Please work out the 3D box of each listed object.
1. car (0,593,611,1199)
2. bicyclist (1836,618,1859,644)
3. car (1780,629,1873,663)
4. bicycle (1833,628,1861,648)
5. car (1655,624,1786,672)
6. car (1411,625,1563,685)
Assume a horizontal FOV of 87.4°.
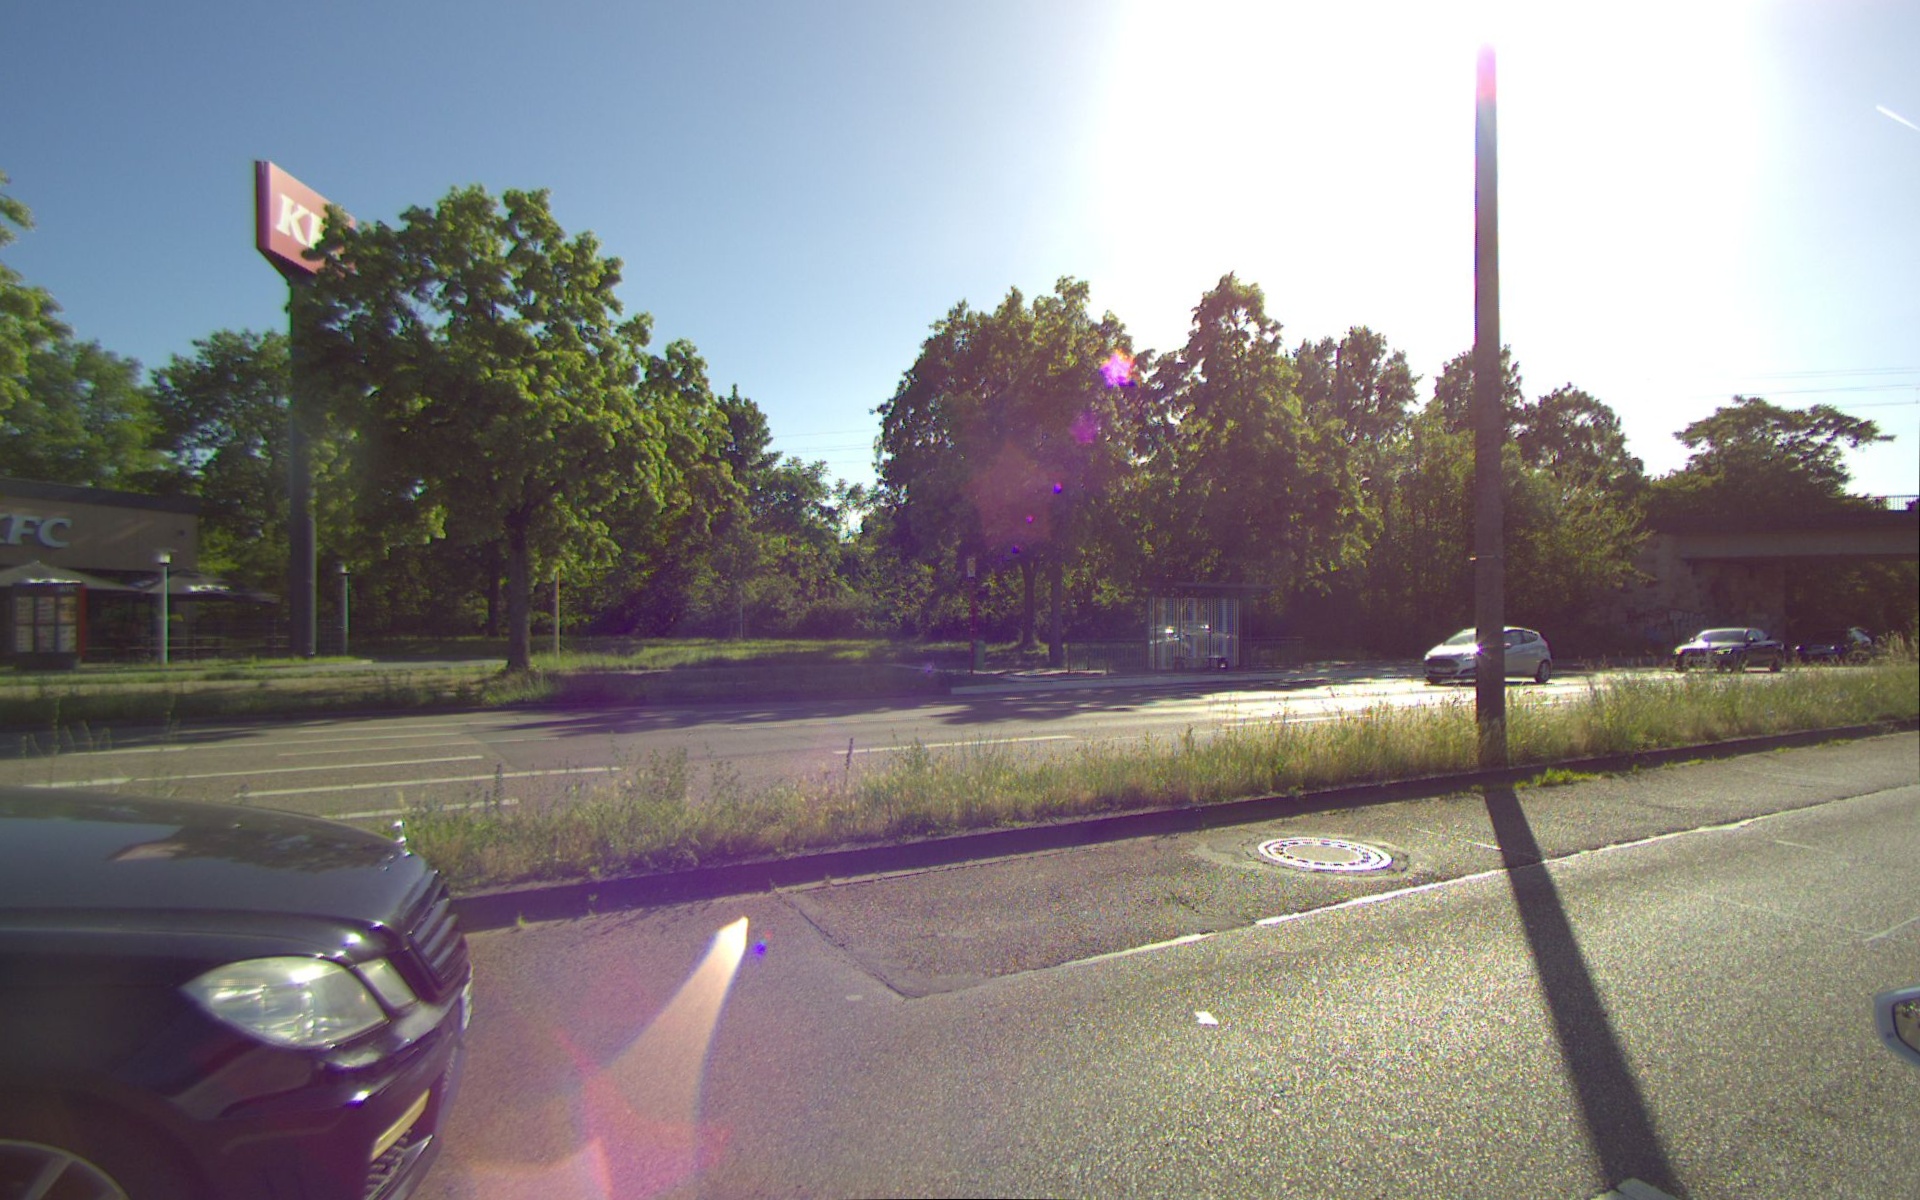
[{"bbox_3d":[-3.296,0.732,1.694,4.860,1.502,1.950,1,-1,-30],"label":"car"},{"bbox_3d":[49.655,1.750,56.170,1.015,1.420,0.676,1,0,-31],"label":"bicyclist"},{"bbox_3d":[39.435,2.098,45.693,4.438,1.473,1.905,1,-4,-31],"label":"car"},{"bbox_3d":[49.583,2.123,56.144,1.695,1.044,0.680,1,0,-31],"label":"bicycle"},{"bbox_3d":[24.865,1.565,32.813,4.577,1.453,1.809,1,-4,-31],"label":"car"},{"bbox_3d":[13.858,1.421,26.346,4.064,1.469,1.633,1,-4,-31],"label":"car"}]
